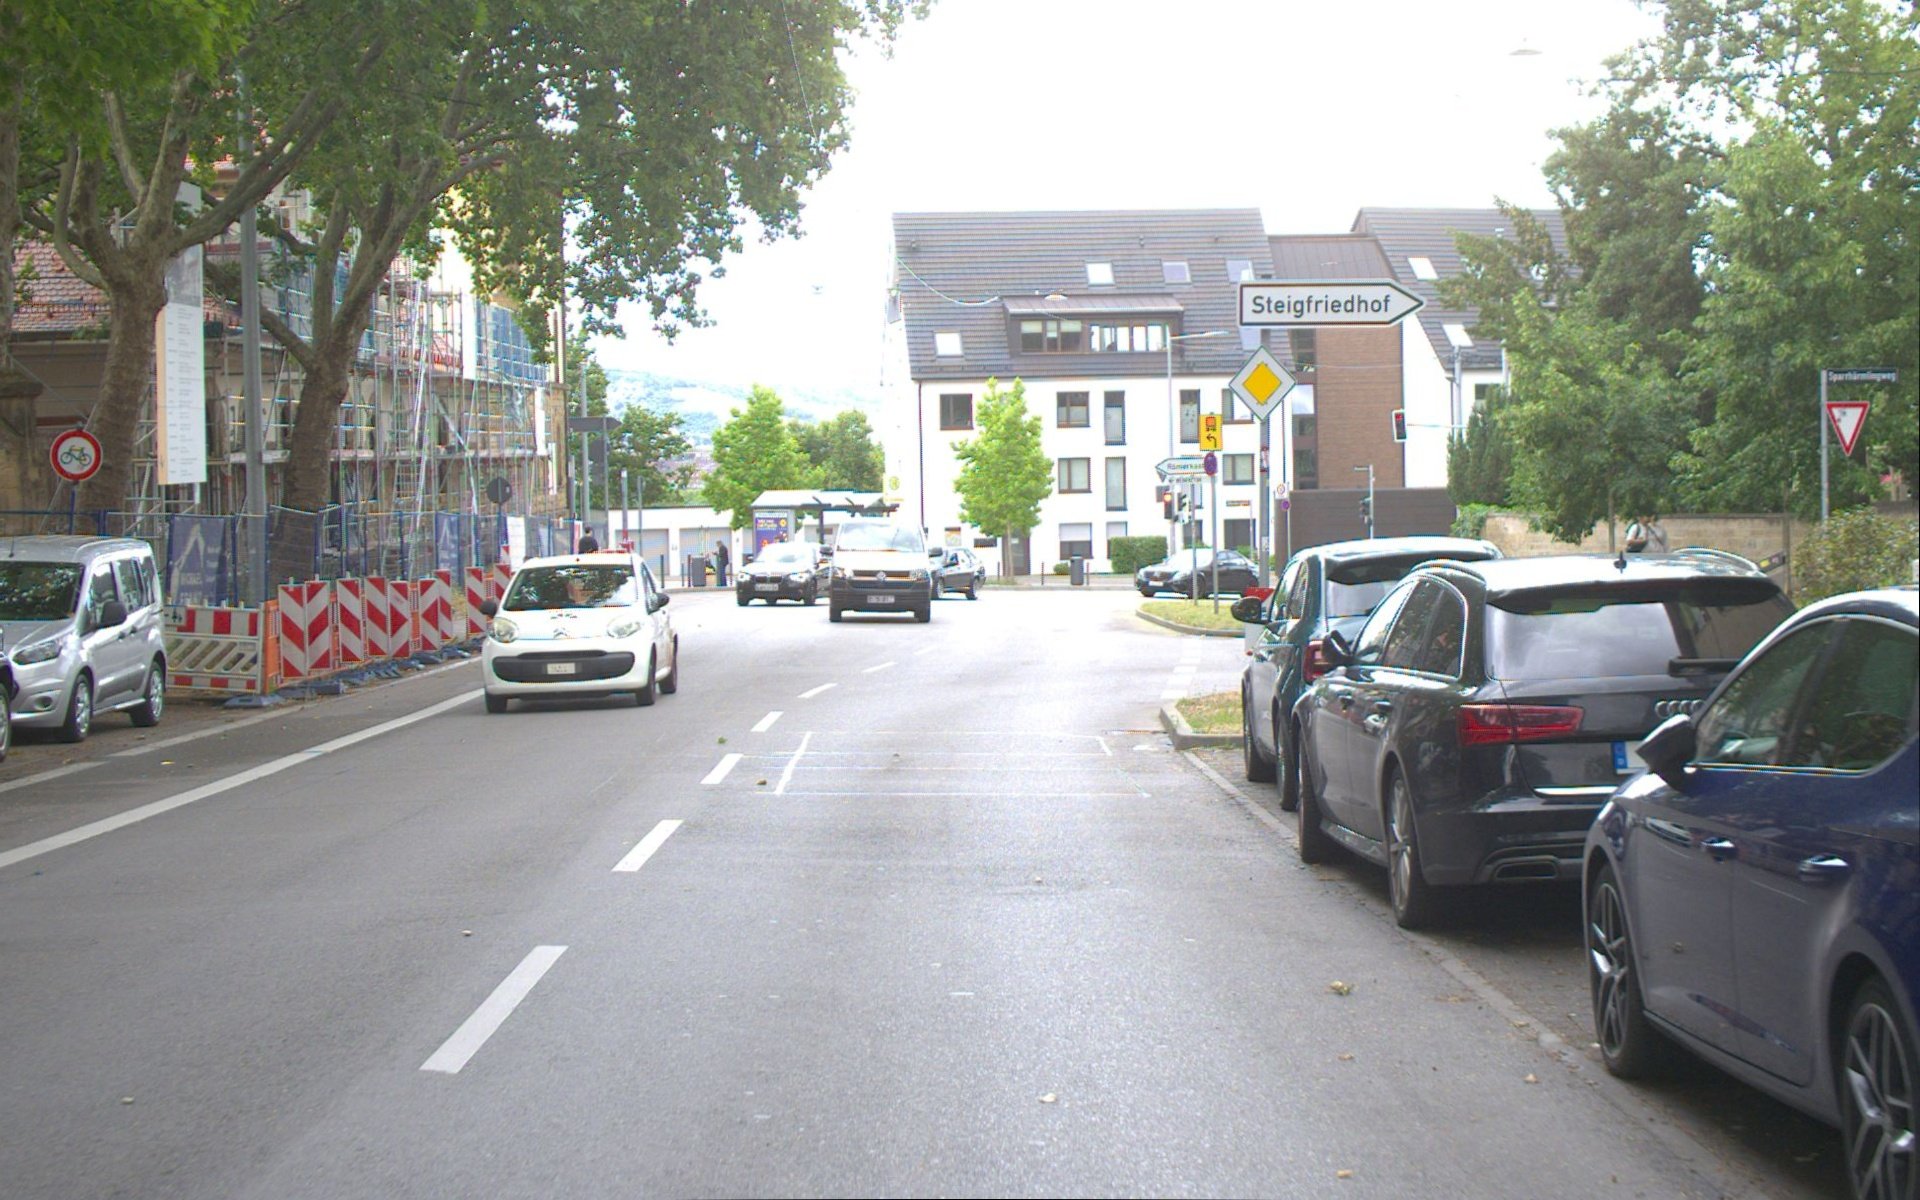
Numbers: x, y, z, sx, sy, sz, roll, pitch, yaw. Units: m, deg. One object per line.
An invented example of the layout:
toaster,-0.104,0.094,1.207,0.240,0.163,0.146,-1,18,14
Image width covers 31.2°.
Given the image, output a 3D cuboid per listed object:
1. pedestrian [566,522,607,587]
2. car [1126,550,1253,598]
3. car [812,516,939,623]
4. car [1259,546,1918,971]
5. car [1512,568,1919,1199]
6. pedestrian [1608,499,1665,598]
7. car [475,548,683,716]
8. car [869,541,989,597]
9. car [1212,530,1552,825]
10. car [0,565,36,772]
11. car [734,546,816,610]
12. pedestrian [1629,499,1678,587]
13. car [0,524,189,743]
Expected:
pedestrian,-9.989,-1.228,91.954,0.923,1.714,0.798,1,0,3
car,6.904,-0.793,103.191,1.703,1.421,4.240,1,1,38
car,-1.536,-0.589,64.608,2.205,1.924,5.240,0,1,1
car,2.502,0.538,14.919,1.738,1.458,4.776,-2,1,-2
car,2.619,0.658,8.654,1.605,1.392,4.276,-3,1,-1
pedestrian,11.957,-0.909,60.737,0.710,1.728,0.661,0,1,-33
car,-3.678,0.270,33.696,1.583,1.459,3.652,-3,1,0
car,-0.786,-0.826,89.807,1.701,1.421,3.693,0,1,25
car,2.486,0.397,20.981,1.565,1.604,3.654,-1,1,0
car,-8.252,0.538,26.177,1.508,1.626,4.116,1,0,-3
car,-4.212,-0.525,78.786,1.699,1.421,4.250,0,1,-1
pedestrian,12.874,-1.057,63.832,0.579,1.579,0.575,-4,2,-29
car,-8.559,0.262,31.763,1.834,1.870,4.417,-1,1,0
